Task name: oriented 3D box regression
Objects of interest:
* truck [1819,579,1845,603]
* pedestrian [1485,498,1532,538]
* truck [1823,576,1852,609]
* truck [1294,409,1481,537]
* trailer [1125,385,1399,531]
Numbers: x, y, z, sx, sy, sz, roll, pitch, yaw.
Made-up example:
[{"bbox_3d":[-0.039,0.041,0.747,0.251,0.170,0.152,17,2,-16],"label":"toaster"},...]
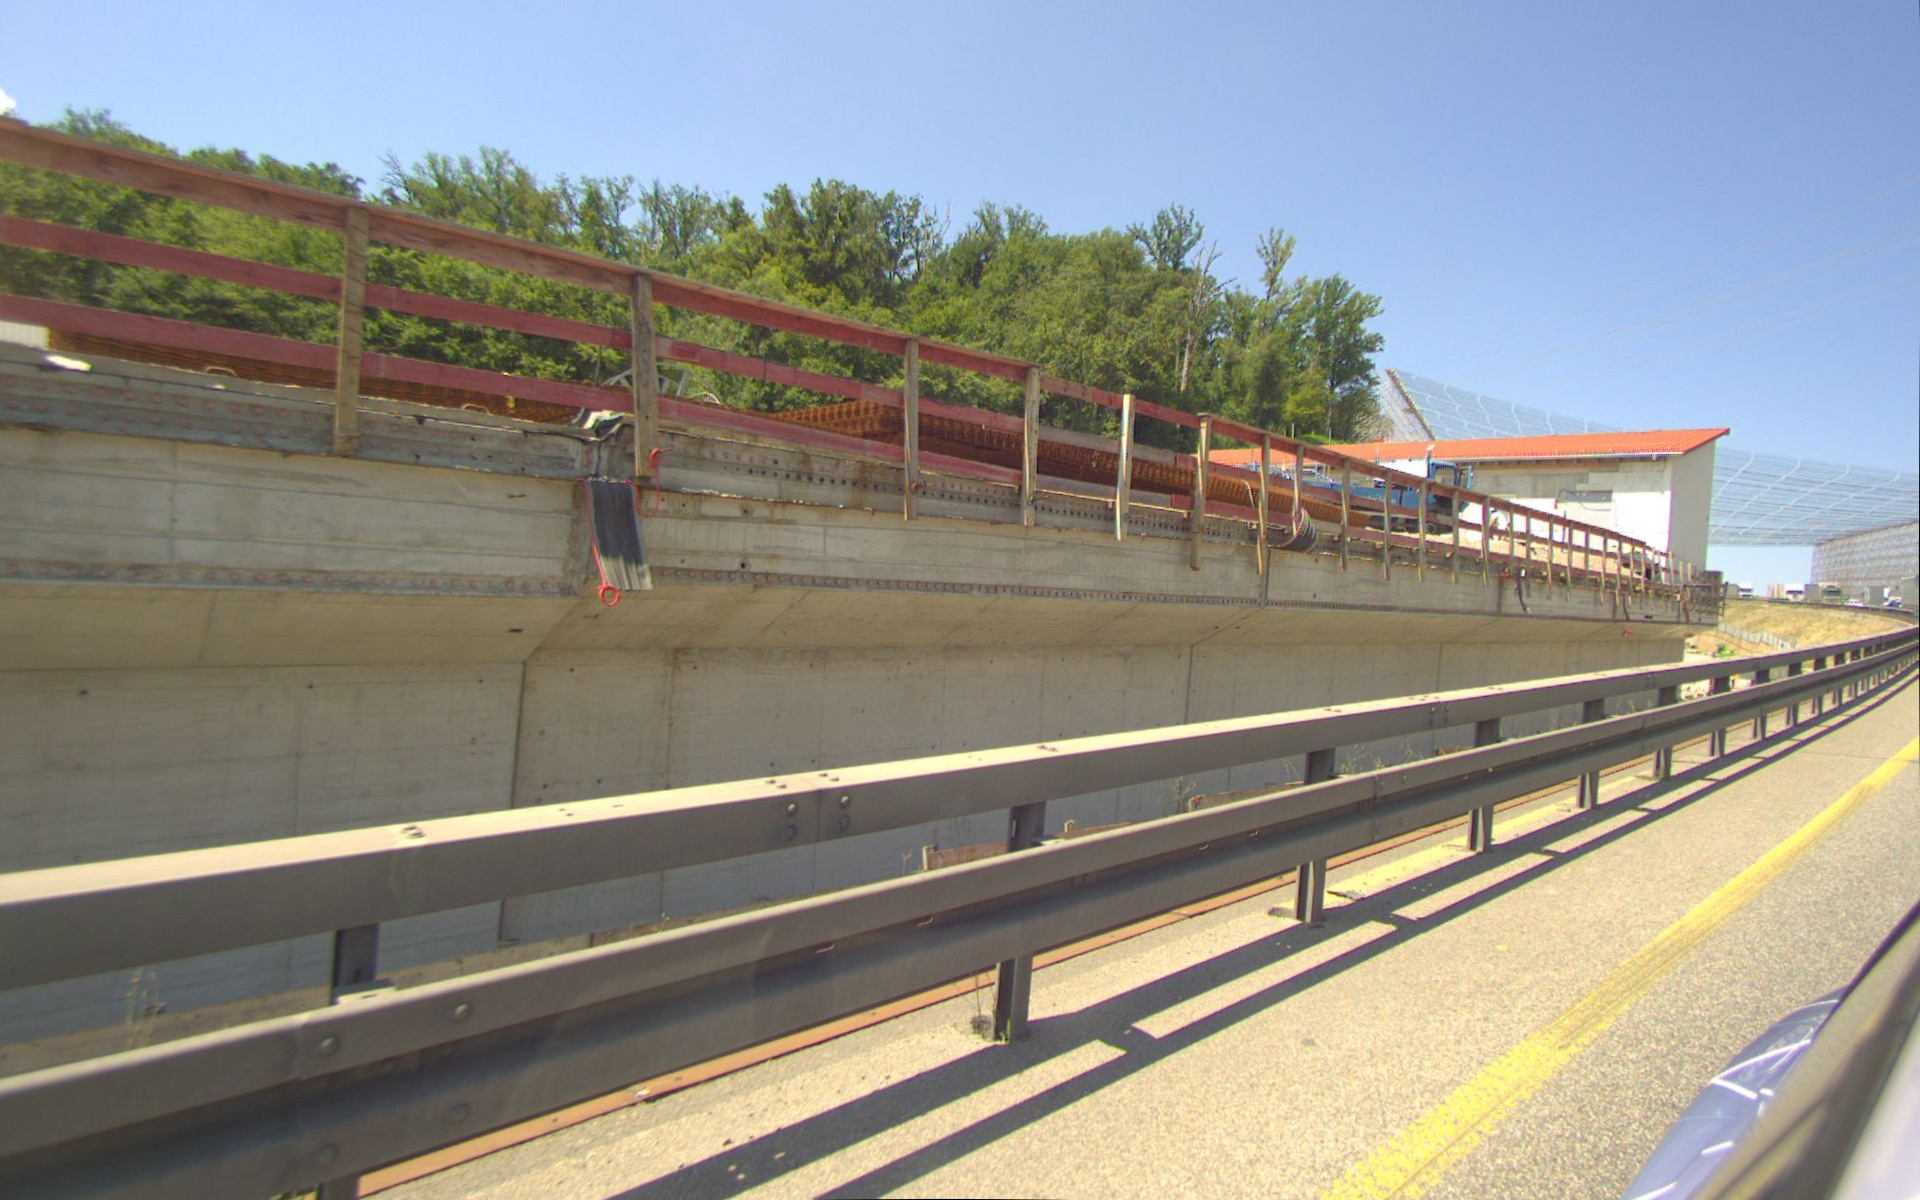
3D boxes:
[{"bbox_3d":[149.856,-1.619,173.964,3.029,4.107,8.553,1,1,39],"label":"truck"},{"bbox_3d":[17.507,-2.606,32.298,0.976,1.165,1.022,-1,1,-37],"label":"pedestrian"},{"bbox_3d":[132.881,-1.185,153.248,3.029,4.865,8.815,1,1,39],"label":"truck"},{"bbox_3d":[15.120,-4.361,35.883,5.590,3.741,2.725,3,0,-20],"label":"truck"},{"bbox_3d":[10.196,-4.594,34.082,8.806,3.741,2.725,3,0,-20],"label":"trailer"}]
